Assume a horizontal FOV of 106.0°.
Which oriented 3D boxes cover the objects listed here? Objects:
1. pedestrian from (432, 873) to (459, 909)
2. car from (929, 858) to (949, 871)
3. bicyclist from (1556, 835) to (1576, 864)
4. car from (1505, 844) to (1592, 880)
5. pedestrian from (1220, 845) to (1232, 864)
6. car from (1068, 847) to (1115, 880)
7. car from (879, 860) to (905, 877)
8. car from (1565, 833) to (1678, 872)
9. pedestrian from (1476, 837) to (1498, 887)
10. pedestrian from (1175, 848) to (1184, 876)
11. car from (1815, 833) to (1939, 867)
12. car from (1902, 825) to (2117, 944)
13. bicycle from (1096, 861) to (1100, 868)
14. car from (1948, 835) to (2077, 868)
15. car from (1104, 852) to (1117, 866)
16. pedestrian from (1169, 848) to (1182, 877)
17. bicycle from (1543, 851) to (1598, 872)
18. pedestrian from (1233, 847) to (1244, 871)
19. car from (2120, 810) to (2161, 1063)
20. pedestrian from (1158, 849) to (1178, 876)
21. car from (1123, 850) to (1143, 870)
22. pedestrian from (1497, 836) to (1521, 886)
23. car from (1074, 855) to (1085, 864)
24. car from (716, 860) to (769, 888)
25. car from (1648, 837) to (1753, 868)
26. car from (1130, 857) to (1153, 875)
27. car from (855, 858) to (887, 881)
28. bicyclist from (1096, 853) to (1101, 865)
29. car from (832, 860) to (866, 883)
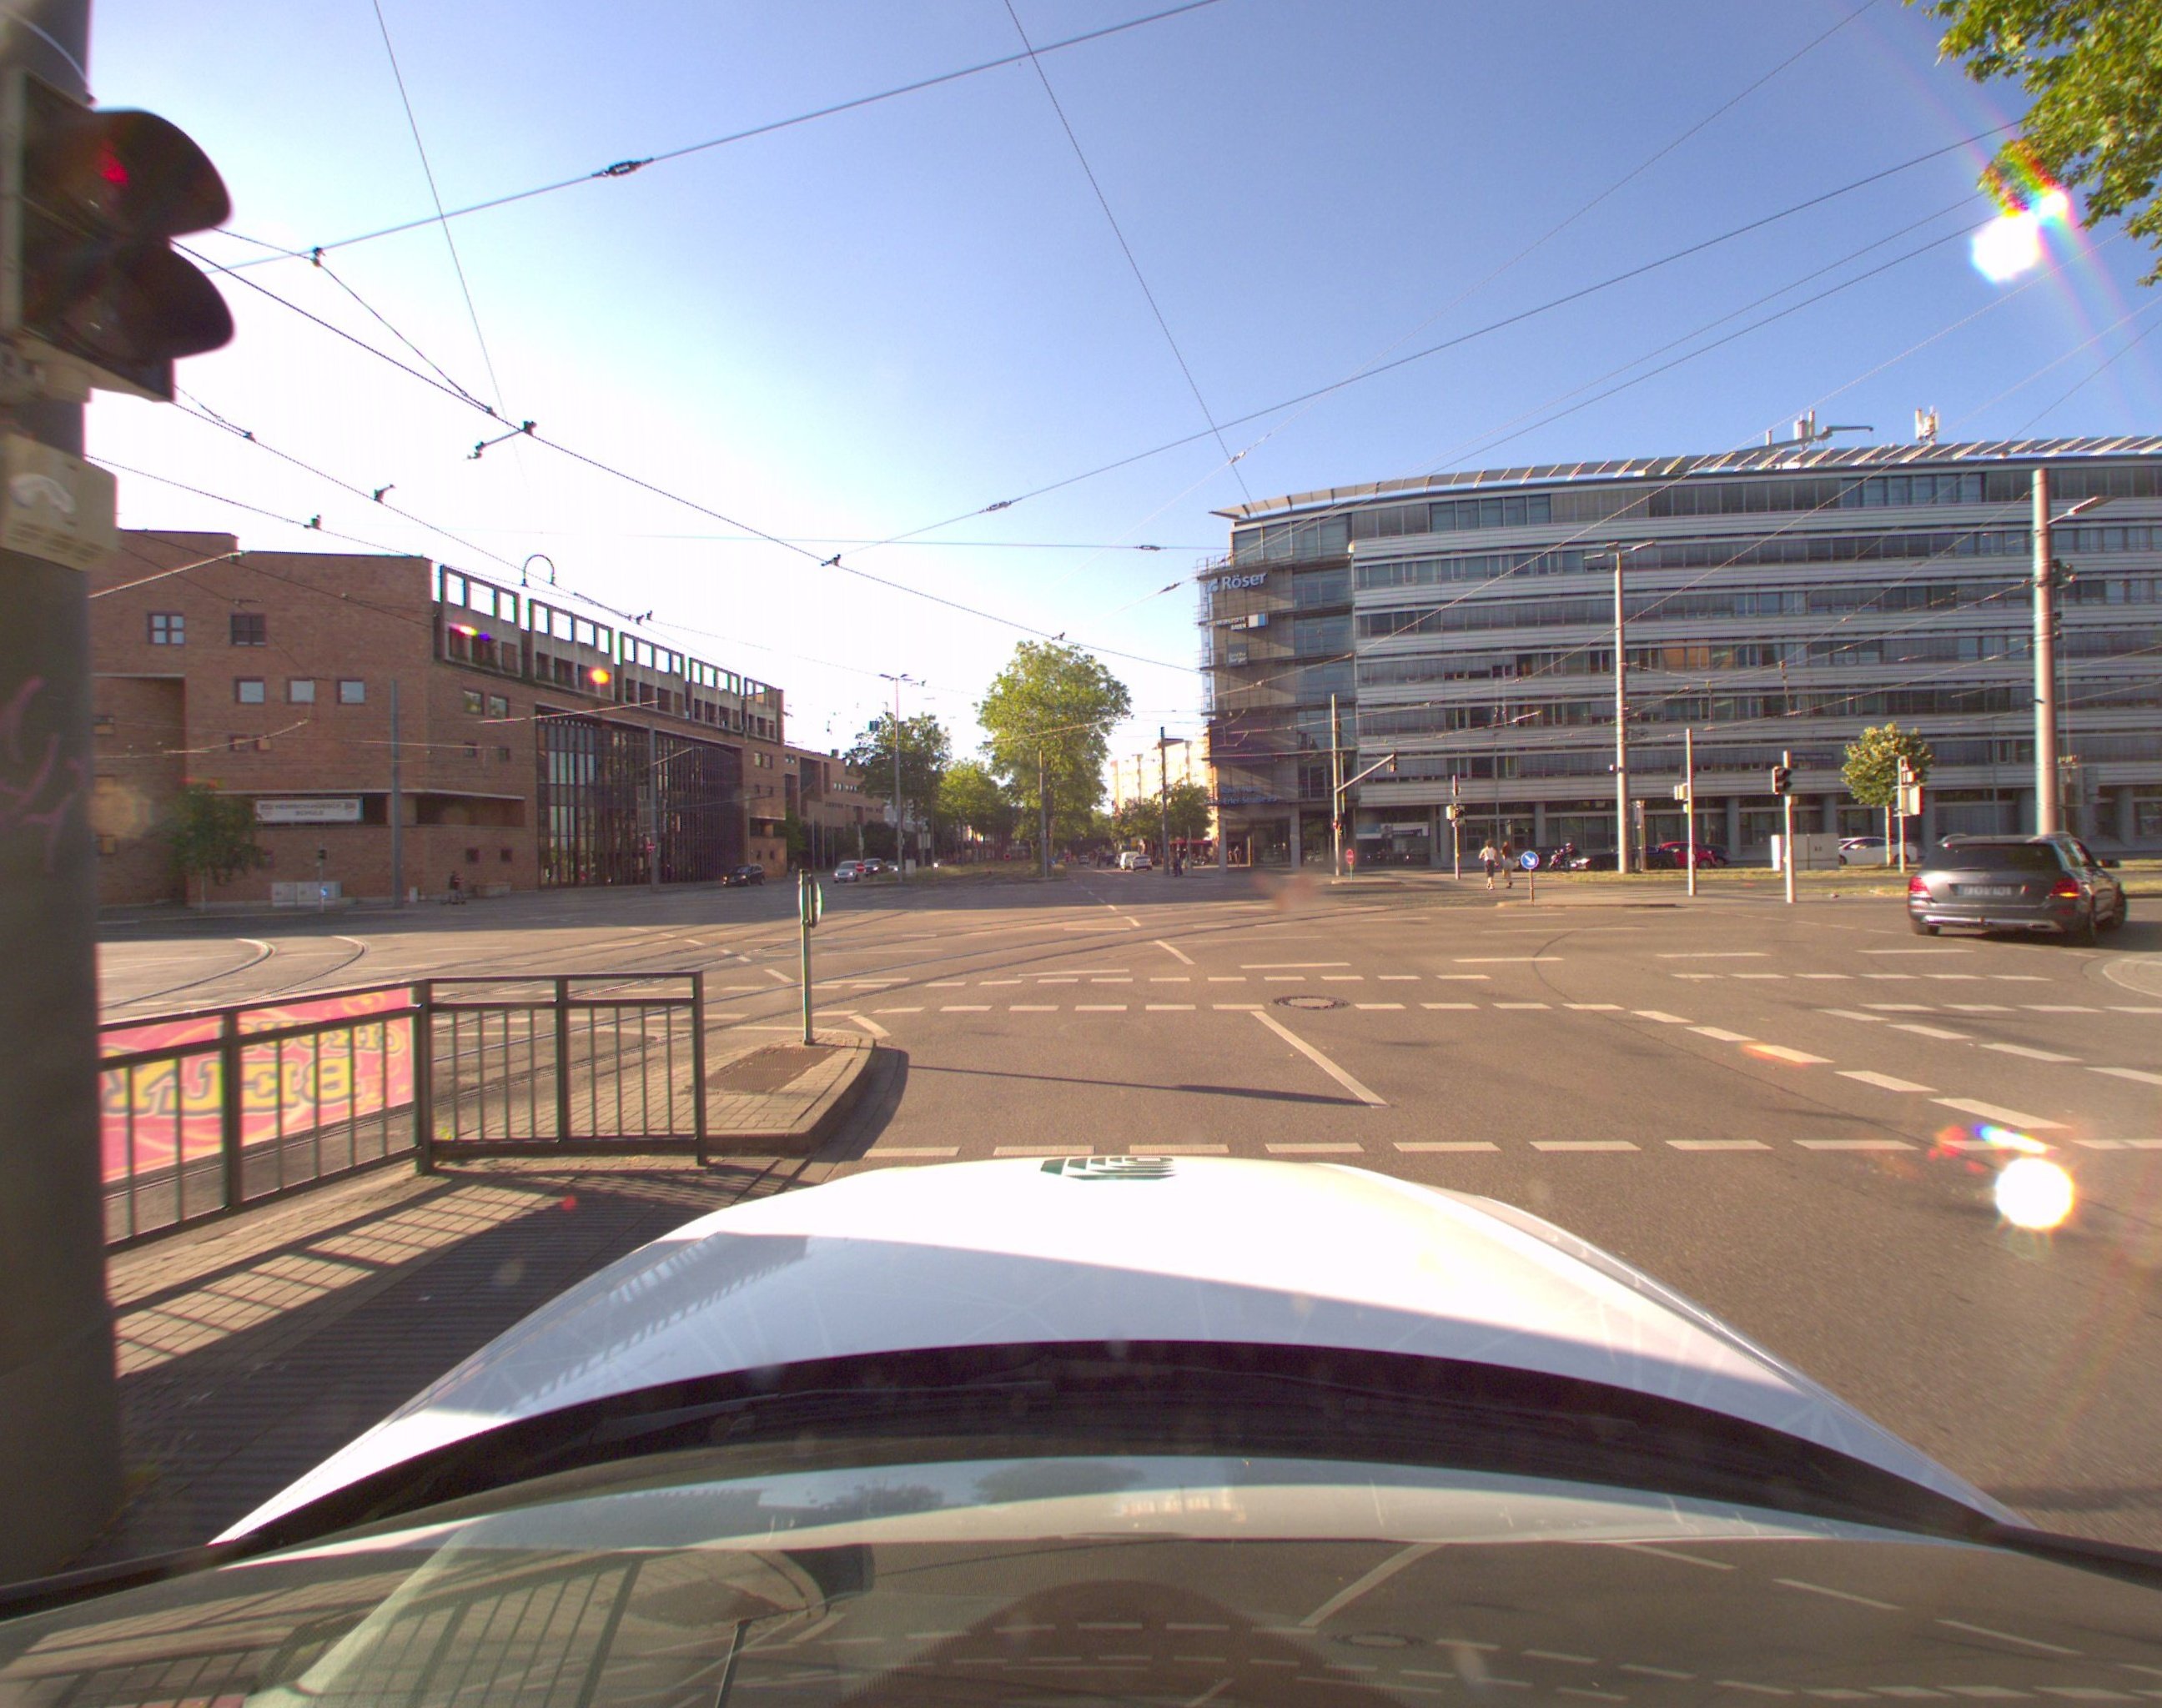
[{"bbox_3d":[-34.595,2.003,44.348,0.720,1.902,0.875,0,-1,-1],"label":"pedestrian"},{"bbox_3d":[-19.910,1.444,114.458,1.837,1.783,4.002,-2,0,2],"label":"car"},{"bbox_3d":[25.557,-0.227,42.929,0.660,1.503,0.614,-2,0,7],"label":"bicyclist"},{"bbox_3d":[27.325,0.468,47.736,3.971,2.014,2.001,0,-1,2],"label":"car"},{"bbox_3d":[16.997,0.056,95.471,1.305,2.190,1.173,0,-1,8],"label":"pedestrian"},{"bbox_3d":[0.626,0.570,52.213,1.997,2.013,4.172,-2,1,-14],"label":"car"},{"bbox_3d":[-17.989,1.353,77.511,1.672,1.607,3.996,0,-1,-3],"label":"car"},{"bbox_3d":[26.554,-0.068,40.098,4.233,1.723,1.887,-2,0,4],"label":"car"},{"bbox_3d":[14.666,0.276,29.414,0.671,1.759,0.746,-2,-1,26],"label":"pedestrian"},{"bbox_3d":[6.998,0.572,57.631,0.584,2.014,0.620,0,-1,2],"label":"pedestrian"},{"bbox_3d":[38.088,-0.167,39.047,3.967,1.596,1.884,0,-1,5],"label":"car"},{"bbox_3d":[15.053,0.408,13.146,4.266,1.636,1.752,0,0,-34],"label":"car"},{"bbox_3d":[2.025,1.221,96.208,0.489,0.788,1.862,0,-1,2],"label":"bicycle"},{"bbox_3d":[46.590,-0.121,40.823,4.096,1.596,1.884,0,-1,5],"label":"car"},{"bbox_3d":[4.408,0.731,120.833,1.986,2.014,4.002,0,-1,2],"label":"car"},{"bbox_3d":[6.744,0.607,58.349,0.846,2.014,0.708,0,-1,0],"label":"pedestrian"},{"bbox_3d":[25.781,0.390,42.917,2.397,1.022,0.638,-2,0,7],"label":"bicycle"},{"bbox_3d":[13.799,0.442,71.403,0.866,2.014,0.794,0,-2,2],"label":"pedestrian"},{"bbox_3d":[7.811,0.521,3.265,1.700,1.636,4.390,-1,0,0],"label":"car"},{"bbox_3d":[6.323,0.618,59.291,1.337,1.950,1.012,-1,-1,2],"label":"pedestrian"},{"bbox_3d":[5.304,0.586,83.593,1.986,2.014,4.002,0,-1,2],"label":"car"},{"bbox_3d":[15.432,0.250,29.371,0.677,1.759,0.746,-2,0,23],"label":"pedestrian"},{"bbox_3d":[-0.223,1.000,143.820,1.740,1.418,4.005,-1,1,4],"label":"car"},{"bbox_3d":[-26.146,1.524,63.022,1.867,2.013,4.477,-2,0,5],"label":"car"},{"bbox_3d":[32.164,-0.049,42.385,3.965,1.552,1.800,0,-1,7],"label":"car"},{"bbox_3d":[5.681,1.135,76.829,2.022,1.596,4.002,0,-1,2],"label":"car"},{"bbox_3d":[-17.892,1.295,69.533,1.819,1.790,3.994,-2,0,-4],"label":"car"},{"bbox_3d":[2.046,0.560,96.065,0.485,1.439,0.616,3,-1,2],"label":"bicyclist"},{"bbox_3d":[-17.667,1.314,62.065,1.618,1.577,3.994,-2,0,-4],"label":"car"}]
